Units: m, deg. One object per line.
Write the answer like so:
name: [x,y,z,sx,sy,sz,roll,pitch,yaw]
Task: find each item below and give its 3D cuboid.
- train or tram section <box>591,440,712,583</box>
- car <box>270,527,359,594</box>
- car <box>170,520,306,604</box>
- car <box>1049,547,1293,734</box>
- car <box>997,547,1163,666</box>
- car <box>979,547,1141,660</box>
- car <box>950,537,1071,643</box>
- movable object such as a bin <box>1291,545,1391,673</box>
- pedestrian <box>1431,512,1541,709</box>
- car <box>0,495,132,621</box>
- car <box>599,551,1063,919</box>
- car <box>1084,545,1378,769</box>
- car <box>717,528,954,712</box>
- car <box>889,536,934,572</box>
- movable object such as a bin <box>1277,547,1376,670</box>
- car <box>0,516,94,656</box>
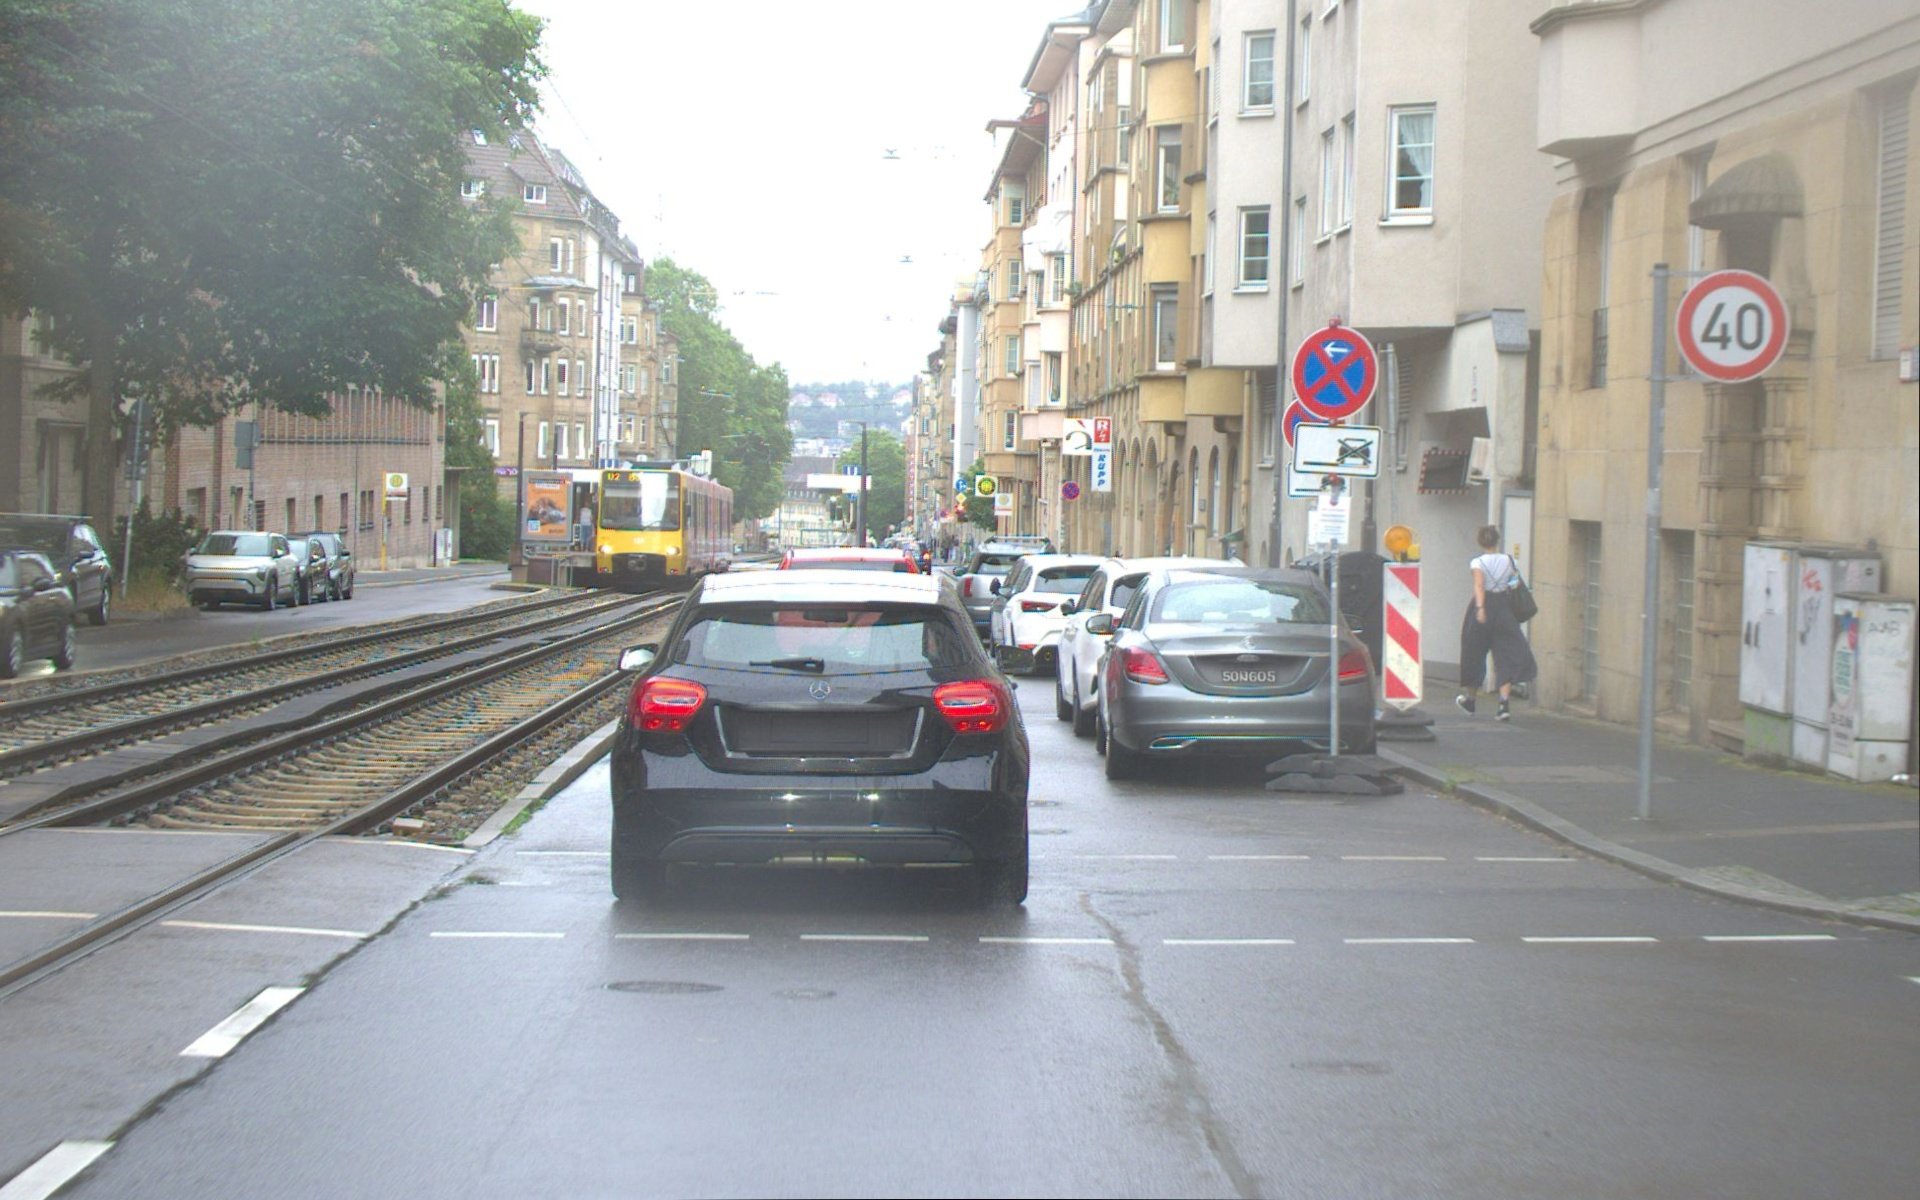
train or tram section: [-9.418,-2.691,106.687,2.745,4.048,17.216,1,1,-2]
car: [-14.776,-0.923,78.816,1.572,1.462,3.045,2,1,-3]
car: [-14.647,-0.794,69.924,1.961,1.600,4.329,2,1,-2]
car: [1.735,0.310,29.646,1.712,1.463,4.774,1,0,-1]
car: [1.437,0.066,42.704,1.789,1.381,4.395,1,0,-1]
car: [1.326,0.032,47.373,1.832,1.463,4.376,1,0,-3]
car: [0.808,-0.166,55.288,1.841,1.602,4.760,1,0,1]
movable object such as a bin: [4.485,0.103,40.528,0.980,1.463,1.273,1,0,-2]
pedestrian: [4.561,0.088,29.858,0.804,1.681,0.754,1,0,-2]
car: [-14.211,-0.685,52.729,1.953,1.736,4.780,4,1,-3]
car: [-0.555,0.520,15.756,1.834,1.448,3.902,1,1,-1]
car: [1.812,0.353,24.279,1.711,1.405,4.817,1,0,0]
car: [-1.114,0.147,31.768,1.993,1.520,4.246,2,1,-1]
car: [-2.162,-2.056,154.123,1.887,1.520,4.245,2,1,1]
movable object such as a bin: [4.474,0.097,42.025,1.018,1.463,1.323,1,0,-2]
car: [-10.700,-0.173,37.658,1.653,1.458,3.735,0,1,-3]
